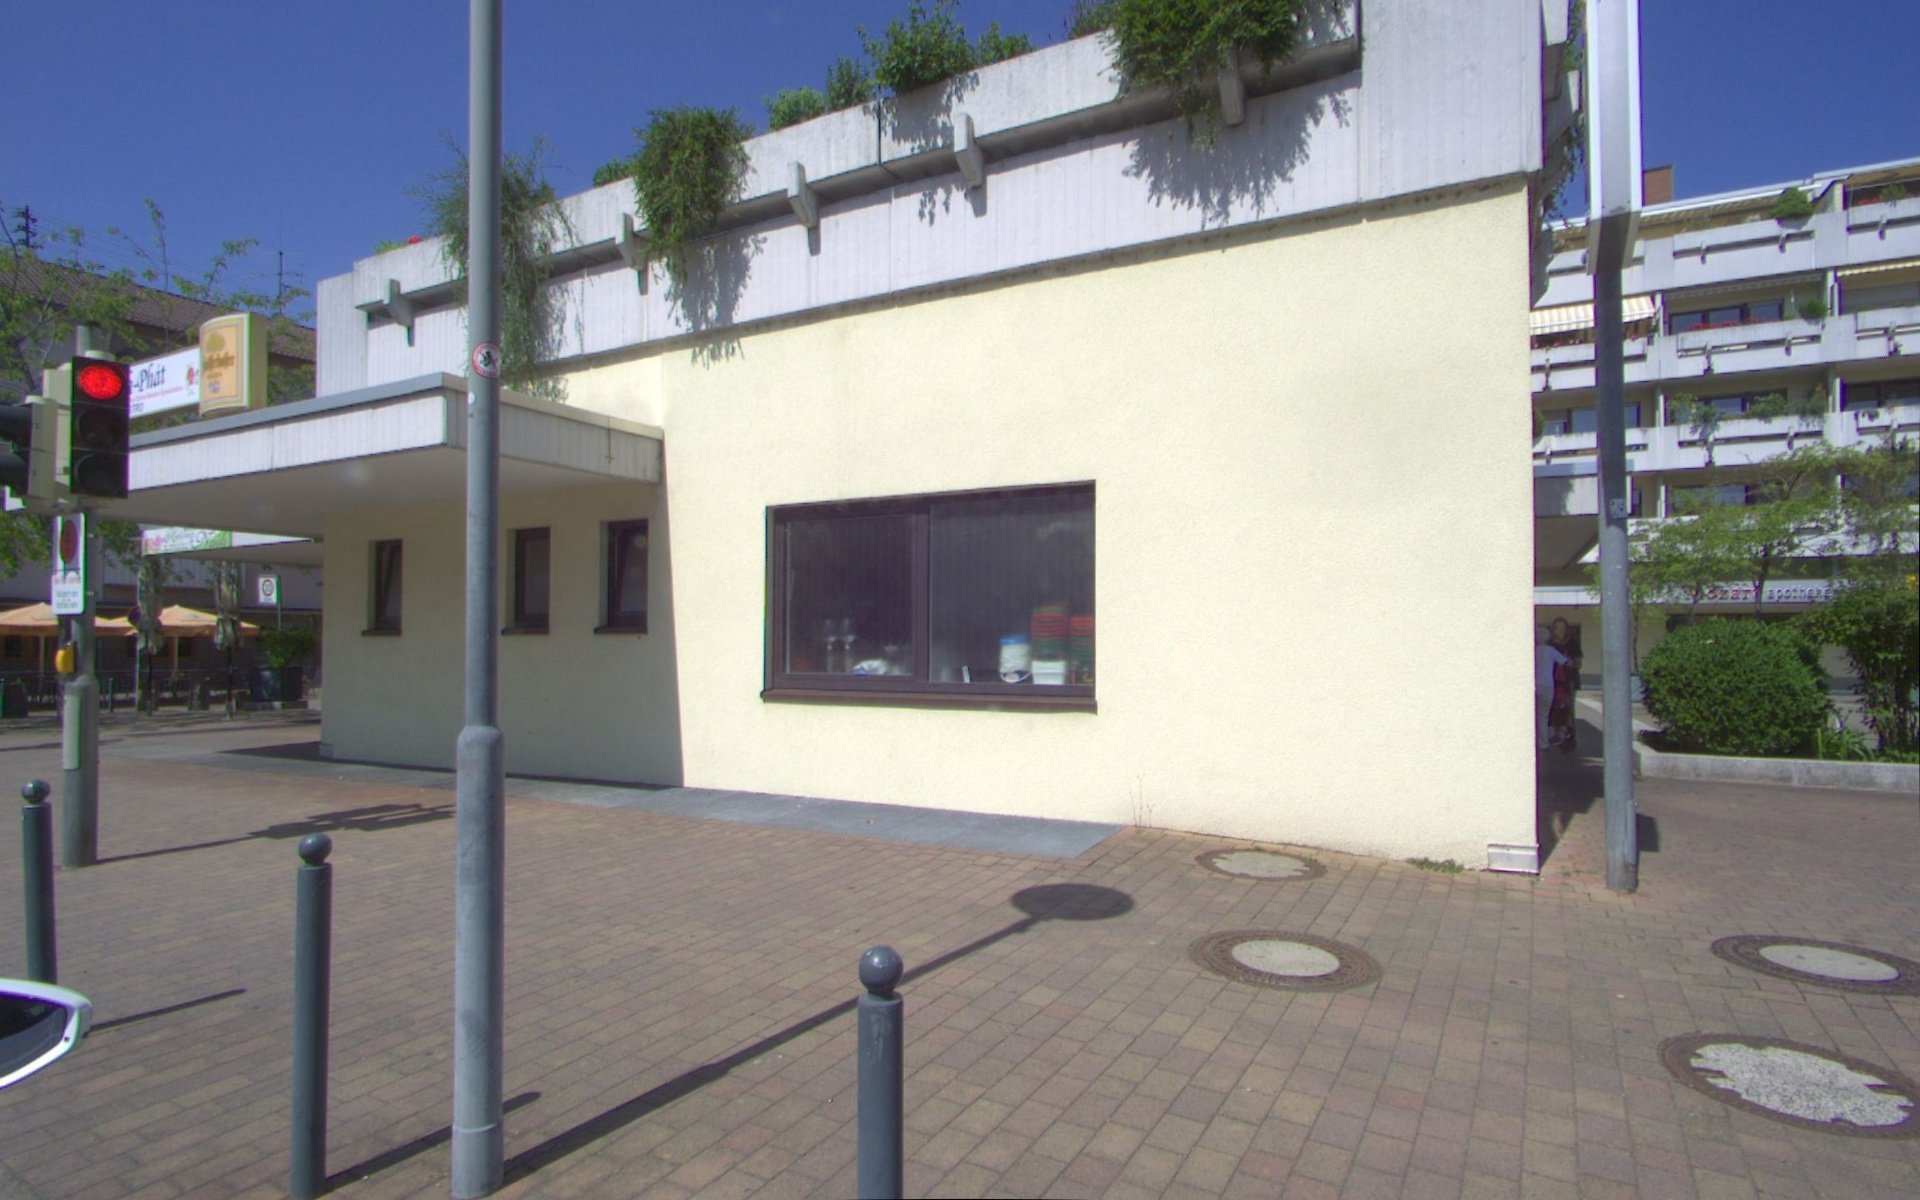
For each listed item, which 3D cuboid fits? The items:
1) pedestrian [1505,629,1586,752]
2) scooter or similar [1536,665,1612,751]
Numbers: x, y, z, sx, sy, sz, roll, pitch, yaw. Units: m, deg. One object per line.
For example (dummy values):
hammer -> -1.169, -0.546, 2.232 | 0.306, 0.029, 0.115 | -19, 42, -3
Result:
pedestrian -> 7.549, 1.143, 12.919 | 0.801, 1.516, 0.615 | 1, -2, -35
scooter or similar -> 8.188, 1.423, 13.359 | 0.795, 1.088, 0.587 | 2, -2, -35
